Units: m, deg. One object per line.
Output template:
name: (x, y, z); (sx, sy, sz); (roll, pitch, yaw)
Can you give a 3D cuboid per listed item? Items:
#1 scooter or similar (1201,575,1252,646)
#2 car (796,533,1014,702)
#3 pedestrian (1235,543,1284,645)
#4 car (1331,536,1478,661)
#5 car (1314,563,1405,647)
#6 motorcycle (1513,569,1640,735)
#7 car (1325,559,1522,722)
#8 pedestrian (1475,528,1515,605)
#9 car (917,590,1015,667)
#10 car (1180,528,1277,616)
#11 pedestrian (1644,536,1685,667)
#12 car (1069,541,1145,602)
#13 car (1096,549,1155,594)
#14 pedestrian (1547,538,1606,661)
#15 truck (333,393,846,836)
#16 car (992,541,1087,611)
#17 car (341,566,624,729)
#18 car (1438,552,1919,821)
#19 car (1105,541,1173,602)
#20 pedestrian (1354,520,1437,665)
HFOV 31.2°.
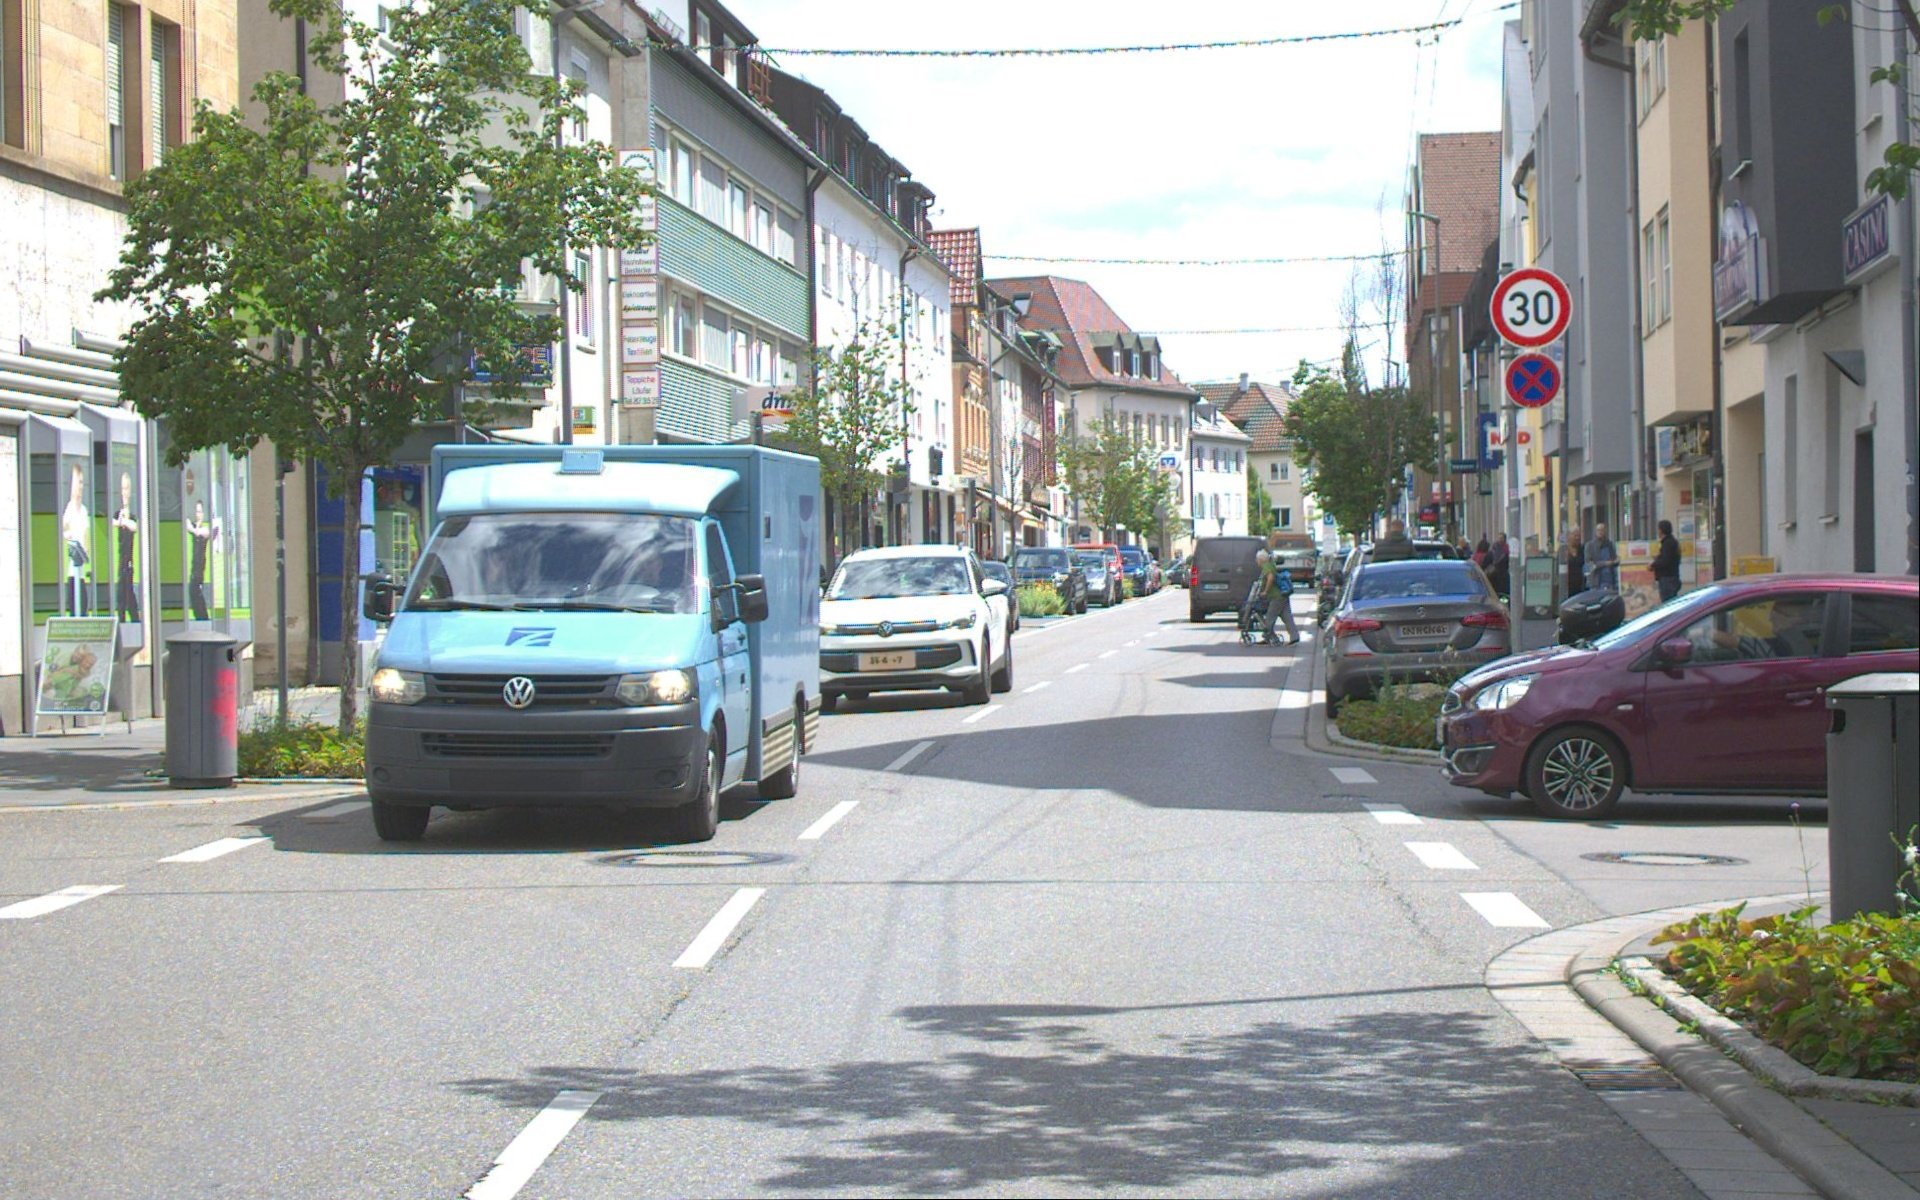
scooter or similar: (4.265, 0.165, 55.074); (0.781, 1.122, 0.630); (1, 0, 2)
car: (-0.510, 0.167, 35.841); (1.788, 1.634, 4.115); (1, 0, 6)
pedestrian: (4.789, -0.090, 55.045); (0.731, 1.612, 0.651); (1, 0, 2)
car: (6.171, -0.046, 48.068); (1.799, 1.598, 4.203); (-2, 1, 5)
car: (7.859, 0.068, 67.920); (1.689, 1.467, 4.523); (1, 2, 6)
motorcycle: (4.886, 0.393, 27.350); (0.659, 1.255, 2.376); (1, 0, 2)
car: (4.423, 0.355, 32.561); (1.707, 1.415, 4.317); (1, 0, 9)
pedestrian: (10.939, -0.678, 70.307); (0.750, 1.548, 0.726); (-1, 0, 6)
car: (0.154, 0.570, 71.141); (1.790, 1.498, 4.178); (1, 1, 3)
car: (5.897, -0.599, 75.684); (2.041, 1.842, 4.998); (1, 0, 4)
pedestrian: (9.295, 0.020, 45.383); (0.435, 1.712, 0.537); (1, 0, 4)
car: (4.389, -0.836, 102.037); (1.817, 1.749, 4.462); (1, 0, 8)
car: (5.885, -1.023, 122.174); (1.800, 1.592, 4.388); (0, 1, 7)
pedestrian: (8.713, -0.009, 48.590); (0.743, 1.712, 0.656); (-1, 0, 5)
truck: (-2.056, 0.071, 21.262); (2.106, 2.297, 6.475); (1, 0, 3)
car: (2.068, -0.601, 88.500); (1.817, 1.749, 4.667); (1, 0, 9)
car: (-4.371, 0.414, 32.047); (1.846, 1.393, 4.036); (1, 0, 3)
car: (4.822, 0.507, 20.774); (3.747, 1.525, 1.537); (1, 0, 5)
car: (5.745, -0.897, 109.873); (1.816, 1.882, 4.839); (1, 0, 7)
pedestrian: (5.754, -0.098, 45.503); (0.975, 1.857, 0.864); (-3, 0, 5)
